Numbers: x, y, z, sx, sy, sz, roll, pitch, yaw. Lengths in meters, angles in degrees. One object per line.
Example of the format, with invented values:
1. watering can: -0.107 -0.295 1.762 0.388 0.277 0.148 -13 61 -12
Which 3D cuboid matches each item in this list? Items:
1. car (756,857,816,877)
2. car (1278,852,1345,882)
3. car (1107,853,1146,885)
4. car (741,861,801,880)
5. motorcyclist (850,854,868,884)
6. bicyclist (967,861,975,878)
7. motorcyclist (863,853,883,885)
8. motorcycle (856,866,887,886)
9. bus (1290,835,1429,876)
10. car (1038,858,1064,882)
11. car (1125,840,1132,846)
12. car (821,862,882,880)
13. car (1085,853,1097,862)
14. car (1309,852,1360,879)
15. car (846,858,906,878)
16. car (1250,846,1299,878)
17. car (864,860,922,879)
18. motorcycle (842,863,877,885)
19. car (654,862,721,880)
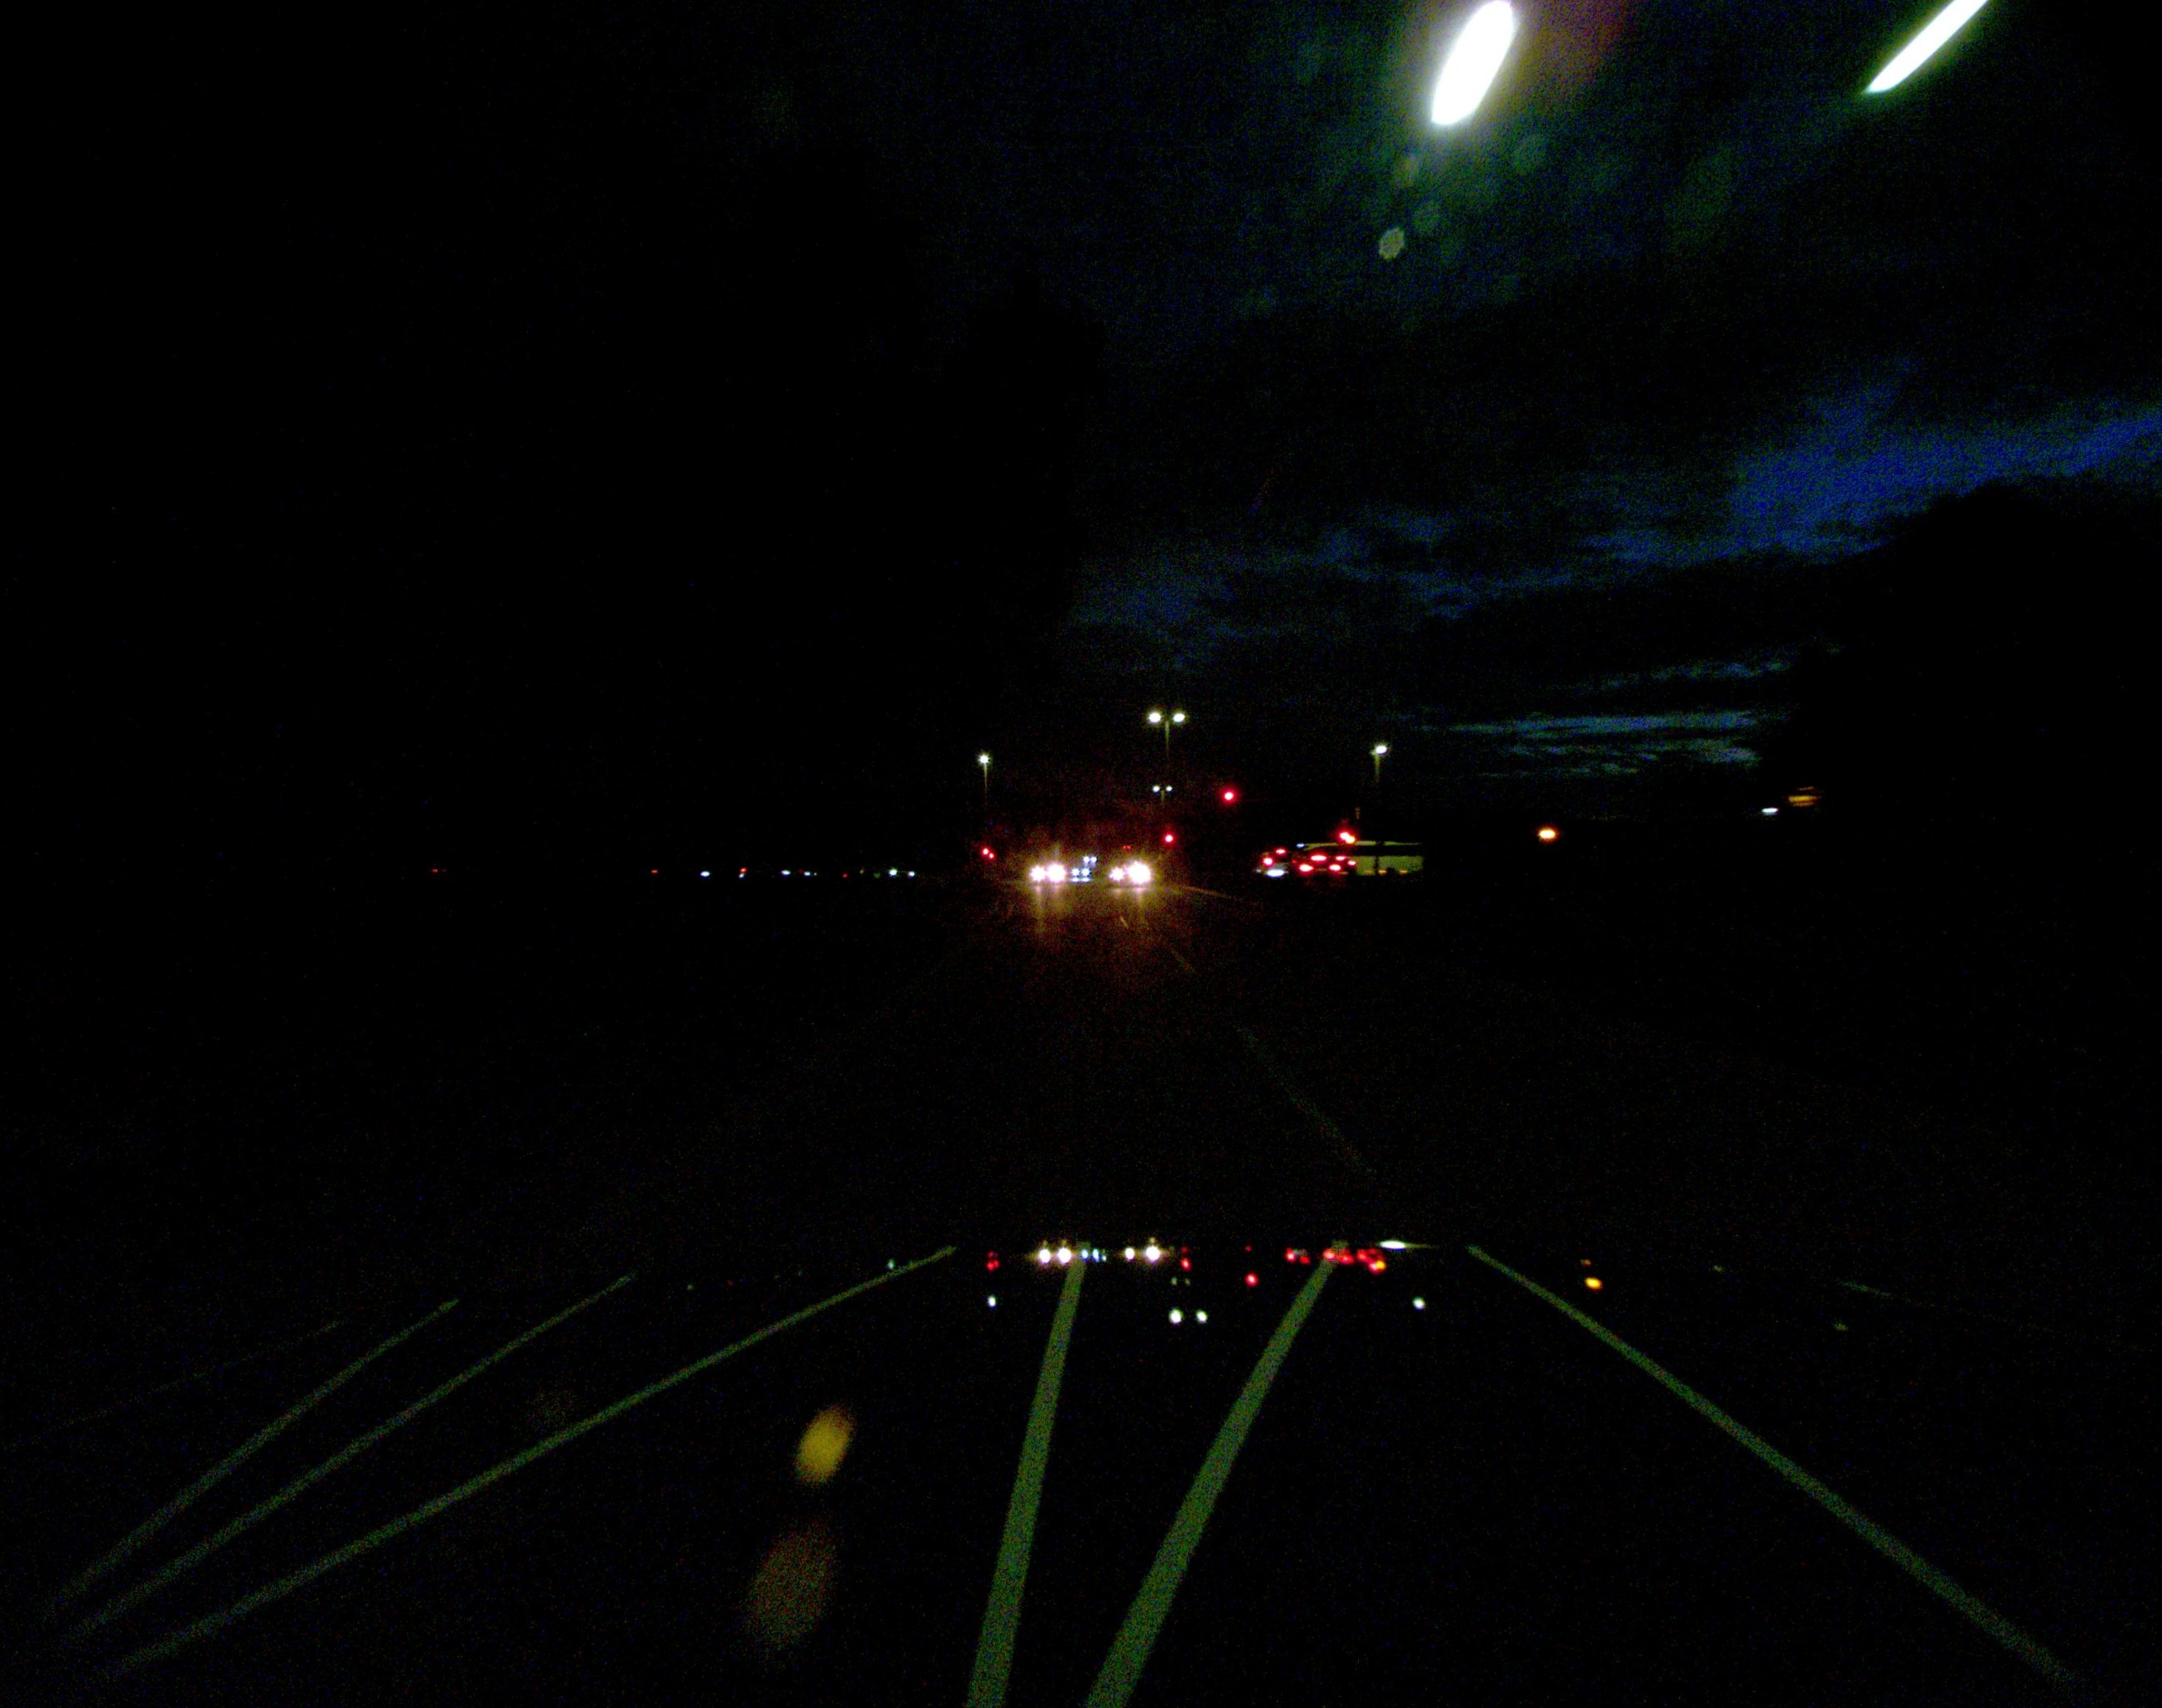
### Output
1. car: -25.004 1.097 64.488 4.358 1.616 1.752 0 -1 4
2. car: 11.213 0.638 37.297 1.875 1.389 4.839 -1 -1 1
3. car: 2.432 0.787 41.785 1.670 1.643 4.410 -2 0 -2
4. car: -24.745 1.291 60.747 3.996 1.515 1.838 0 0 3
5. motorcyclist: -13.455 0.887 46.018 0.791 1.750 0.682 -4 4 -32
6. bicyclist: -10.534 1.495 72.662 0.603 1.641 1.000 0 -1 -2
7. motorcyclist: -12.424 0.879 45.347 0.871 1.799 0.914 -5 5 -26
8. motorcycle: -12.525 1.282 45.401 1.579 1.028 0.721 -5 5 -27
9. bus: 26.550 0.186 72.705 12.265 3.766 2.617 -1 -2 1
10. car: -1.968 1.021 50.046 1.670 1.472 3.775 -1 0 -2
11. car: 14.865 -3.404 237.632 1.739 1.564 4.059 -2 0 -2
12. car: -18.224 1.343 60.464 4.286 1.437 1.787 0 -1 5
13. car: 1.909 0.668 145.347 1.696 1.586 3.930 -1 -2 11
14. car: 14.391 0.676 43.332 1.773 1.438 3.782 0 -1 2
15. car: -17.228 1.188 63.931 4.415 1.672 1.916 0 -1 4
16. car: 11.394 0.490 45.081 1.848 1.803 4.776 0 -1 2
17. car: -16.683 1.402 67.523 4.580 1.623 1.859 0 -1 3
18. motorcycle: -13.417 1.183 46.054 1.824 1.175 0.847 -4 4 -32
19. car: -31.356 1.340 60.647 4.392 1.381 1.838 0 0 3
